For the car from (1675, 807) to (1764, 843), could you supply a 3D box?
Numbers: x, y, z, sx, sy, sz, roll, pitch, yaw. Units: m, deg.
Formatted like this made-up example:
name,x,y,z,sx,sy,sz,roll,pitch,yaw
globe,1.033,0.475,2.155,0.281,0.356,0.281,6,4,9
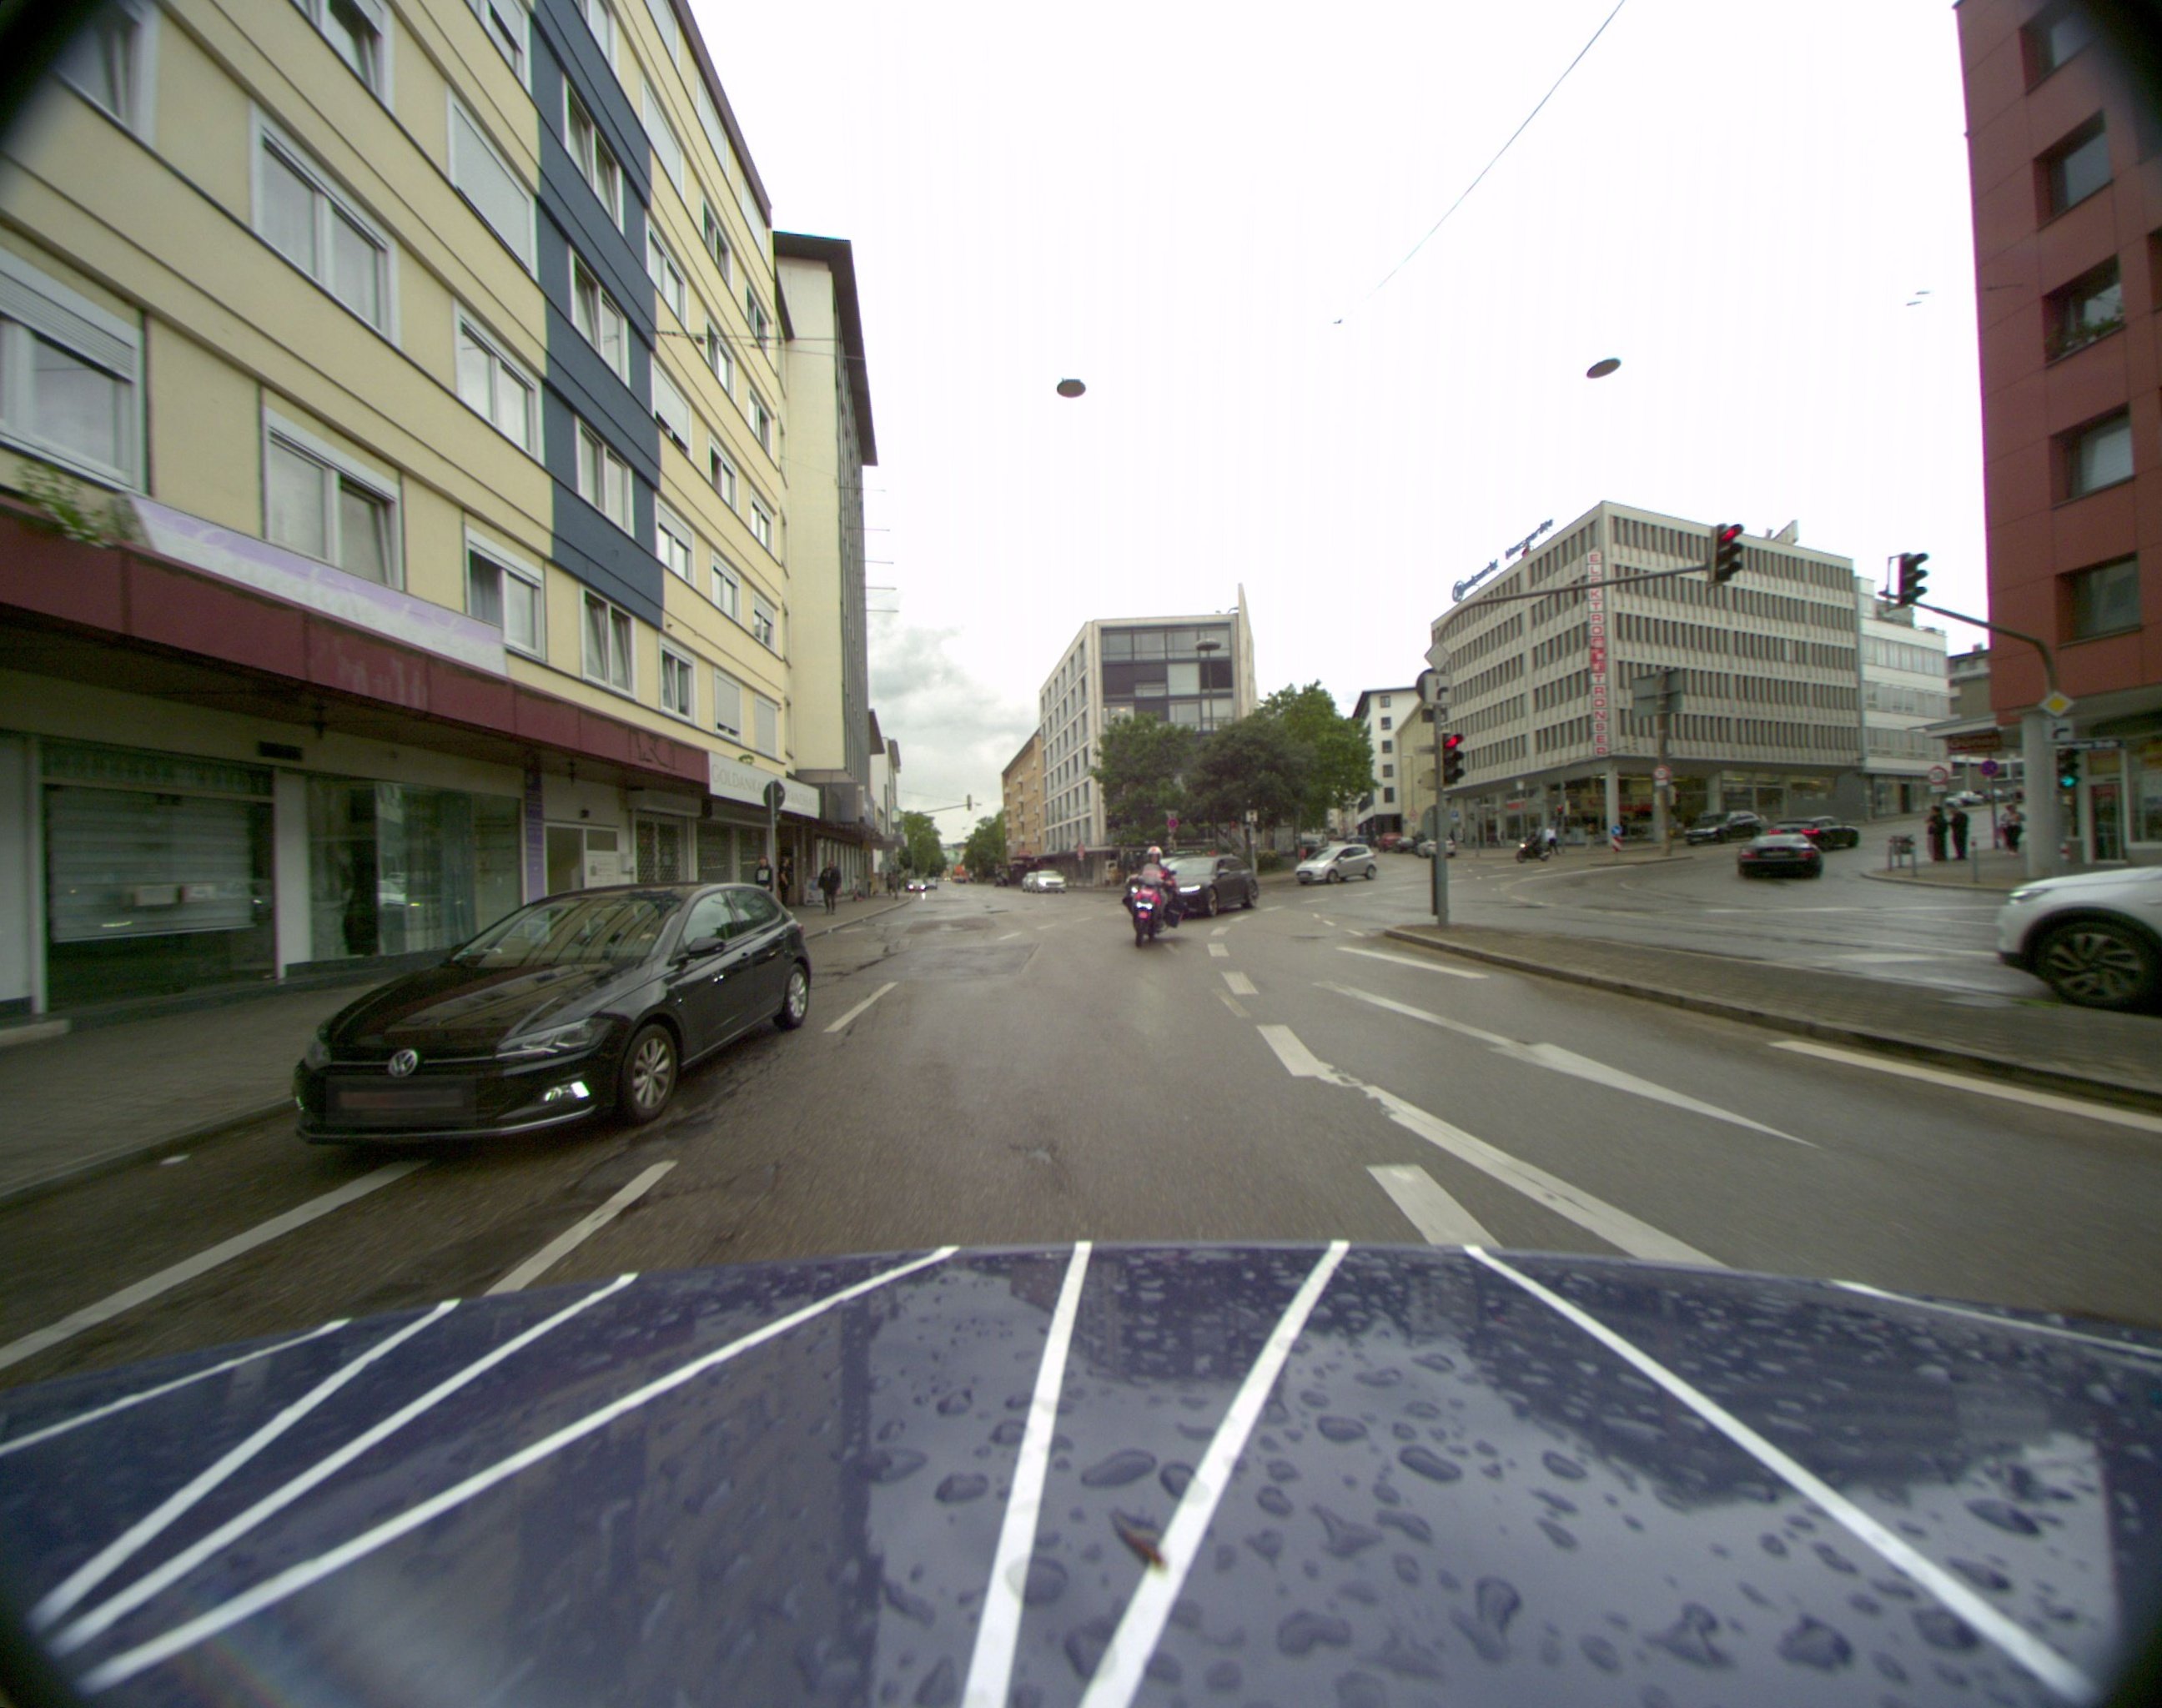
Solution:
name,x,y,z,sx,sy,sz,roll,pitch,yaw
car,35.625,-1.620,42.431,4.003,1.673,1.997,-4,1,-20

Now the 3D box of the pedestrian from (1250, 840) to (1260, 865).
name,x,y,z,sx,sy,sz,roll,pitch,yaw
pedestrian,13.429,-0.114,58.613,0.592,1.802,0.705,-5,-1,17

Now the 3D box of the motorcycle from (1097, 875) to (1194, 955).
name,x,y,z,sx,sy,sz,roll,pitch,yaw
motorcycle,1.194,1.030,13.363,1.311,1.129,2.187,-3,1,14

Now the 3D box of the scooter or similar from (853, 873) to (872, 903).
name,x,y,z,sx,sy,sz,roll,pitch,yaw
scooter or similar,-10.254,1.587,35.628,0.377,1.352,1.149,-4,1,4

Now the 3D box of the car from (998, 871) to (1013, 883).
name,x,y,z,sx,sy,sz,roll,pitch,yaw
car,-11.592,3.519,116.554,1.828,1.564,3.997,-4,-1,-9

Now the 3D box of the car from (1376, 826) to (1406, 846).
name,x,y,z,sx,sy,sz,roll,pitch,yaw
car,29.586,-1.711,72.531,1.931,1.662,4.450,-4,-1,14

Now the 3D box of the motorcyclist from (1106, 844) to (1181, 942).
name,x,y,z,sx,sy,sz,roll,pitch,yaw
motorcyclist,1.115,0.666,13.350,1.091,1.595,0.954,-4,0,12

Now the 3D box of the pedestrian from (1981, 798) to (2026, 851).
name,x,y,z,sx,sy,sz,roll,pitch,yaw
pedestrian,29.609,-0.954,24.388,0.734,1.620,0.693,-4,0,-26

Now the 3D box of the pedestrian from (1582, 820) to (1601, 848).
name,x,y,z,sx,sy,sz,roll,pitch,yaw
pedestrian,30.397,-1.197,45.271,0.713,1.613,0.725,-3,1,19

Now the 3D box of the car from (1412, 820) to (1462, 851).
name,x,y,z,sx,sy,sz,roll,pitch,yaw
car,26.658,-1.348,57.053,2.095,2.078,4.617,-4,-1,9

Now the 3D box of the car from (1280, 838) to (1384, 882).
name,x,y,z,sx,sy,sz,roll,pitch,yaw
car,10.975,0.269,33.214,4.109,1.574,1.996,-4,-1,-30

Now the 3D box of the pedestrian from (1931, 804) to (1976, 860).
name,x,y,z,sx,sy,sz,roll,pitch,yaw
pedestrian,28.196,-0.707,24.563,0.700,1.737,0.732,-4,0,-28

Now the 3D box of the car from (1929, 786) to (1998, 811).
name,x,y,z,sx,sy,sz,roll,pitch,yaw
car,84.753,-5.303,73.026,1.749,1.945,3.991,-4,1,-30

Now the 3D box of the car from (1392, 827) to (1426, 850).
name,x,y,z,sx,sy,sz,roll,pitch,yaw
car,28.314,-1.321,65.748,2.023,1.739,4.619,-5,-1,16

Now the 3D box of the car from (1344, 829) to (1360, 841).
name,x,y,z,sx,sy,sz,roll,pitch,yaw
car,43.956,-3.025,123.290,2.024,1.639,4.432,-5,-1,14

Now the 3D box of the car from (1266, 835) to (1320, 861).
name,x,y,z,sx,sy,sz,roll,pitch,yaw
car,15.461,-0.426,55.345,3.539,1.550,1.742,-5,1,20

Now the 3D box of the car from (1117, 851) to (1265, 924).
name,x,y,z,sx,sy,sz,roll,pitch,yaw
car,2.966,0.788,19.427,1.995,1.482,4.743,-3,1,31

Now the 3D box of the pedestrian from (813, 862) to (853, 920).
name,x,y,z,sx,sy,sz,roll,pitch,yaw
pedestrian,-7.694,1.137,23.582,0.752,1.712,0.754,-4,0,21

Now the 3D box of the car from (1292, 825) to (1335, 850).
name,x,y,z,sx,sy,sz,roll,pitch,yaw
car,24.314,-1.695,79.471,3.827,2.252,1.988,-4,1,32

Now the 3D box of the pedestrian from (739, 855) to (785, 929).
name,x,y,z,sx,sy,sz,roll,pitch,yaw
pedestrian,-7.684,0.911,18.318,0.838,1.754,0.617,1,-2,-8

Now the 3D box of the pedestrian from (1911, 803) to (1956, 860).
name,x,y,z,sx,sy,sz,roll,pitch,yaw
pedestrian,27.402,-0.716,24.417,0.744,1.737,0.732,-4,0,-28

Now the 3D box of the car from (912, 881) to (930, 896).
name,x,y,z,sx,sy,sz,roll,pitch,yaw
car,-17.638,3.767,83.778,1.786,1.444,3.997,-4,-1,-13

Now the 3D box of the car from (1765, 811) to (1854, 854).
name,x,y,z,sx,sy,sz,roll,pitch,yaw
car,31.404,-0.955,32.710,4.385,1.542,1.995,-4,-1,-37

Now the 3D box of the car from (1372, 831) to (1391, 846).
name,x,y,z,sx,sy,sz,roll,pitch,yaw
car,38.878,-1.985,98.416,1.747,1.784,3.671,-4,-1,14

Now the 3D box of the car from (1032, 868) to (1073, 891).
name,x,y,z,sx,sy,sz,roll,pitch,yaw
car,-1.900,1.635,49.005,1.975,1.379,3.997,-1,-1,-12

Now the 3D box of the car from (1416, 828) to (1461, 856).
name,x,y,z,sx,sy,sz,roll,pitch,yaw
car,24.317,-0.811,51.805,1.999,1.621,4.620,-5,-1,17

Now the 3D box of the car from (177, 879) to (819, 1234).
name,x,y,z,sx,sy,sz,roll,pitch,yaw
car,-3.455,1.042,5.603,1.742,1.423,3.878,-1,2,-1

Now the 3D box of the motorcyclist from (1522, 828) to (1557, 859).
name,x,y,z,sx,sy,sz,roll,pitch,yaw
motorcyclist,22.520,-0.522,37.360,1.114,1.434,0.910,-3,1,-9

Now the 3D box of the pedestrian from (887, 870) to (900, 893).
name,x,y,z,sx,sy,sz,roll,pitch,yaw
pedestrian,-13.799,2.032,55.915,0.737,1.636,0.641,-5,1,-10

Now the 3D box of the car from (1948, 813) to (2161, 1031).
name,x,y,z,sx,sy,sz,roll,pitch,yaw
car,8.945,0.438,4.651,1.999,1.542,4.427,-4,-1,-4

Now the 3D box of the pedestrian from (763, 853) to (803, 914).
name,x,y,z,sx,sy,sz,roll,pitch,yaw
pedestrian,-8.890,0.879,22.702,0.616,1.752,0.790,-4,0,21

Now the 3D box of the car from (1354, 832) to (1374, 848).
name,x,y,z,sx,sy,sz,roll,pitch,yaw
car,36.644,-1.761,98.465,2.024,1.830,4.049,-5,-1,16

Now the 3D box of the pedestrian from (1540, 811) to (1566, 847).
name,x,y,z,sx,sy,sz,roll,pitch,yaw
pedestrian,27.425,-1.450,44.202,0.993,2.002,0.948,-3,1,15

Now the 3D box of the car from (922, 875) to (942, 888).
name,x,y,z,sx,sy,sz,roll,pitch,yaw
car,-21.698,3.981,110.552,2.002,1.610,4.116,-3,1,-23

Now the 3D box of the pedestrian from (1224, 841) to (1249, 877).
name,x,y,z,sx,sy,sz,roll,pitch,yaw
pedestrian,8.080,0.247,39.474,0.783,1.739,0.788,-9,-1,-8

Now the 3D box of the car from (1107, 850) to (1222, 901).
name,x,y,z,sx,sy,sz,roll,pitch,yaw
car,3.144,0.785,28.098,4.111,1.538,1.868,-4,0,-41

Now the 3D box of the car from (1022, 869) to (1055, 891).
name,x,y,z,sx,sy,sz,roll,pitch,yaw
car,-3.183,1.901,56.164,1.811,1.489,3.997,-4,-1,-12

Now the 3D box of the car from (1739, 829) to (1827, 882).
name,x,y,z,sx,sy,sz,roll,pitch,yaw
car,21.711,0.016,23.462,1.793,1.353,4.068,-5,-1,44

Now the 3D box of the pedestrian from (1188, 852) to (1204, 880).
name,x,y,z,sx,sy,sz,roll,pitch,yaw
pedestrian,7.567,0.799,50.088,0.788,1.802,0.593,-5,-1,-8

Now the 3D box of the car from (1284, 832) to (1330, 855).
name,x,y,z,sx,sy,sz,roll,pitch,yaw
car,18.692,-0.859,62.895,3.540,1.550,1.742,-5,1,17

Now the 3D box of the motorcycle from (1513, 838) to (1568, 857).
name,x,y,z,sx,sy,sz,roll,pitch,yaw
motorcycle,22.591,-0.314,37.369,2.395,0.837,0.712,-3,1,-9
